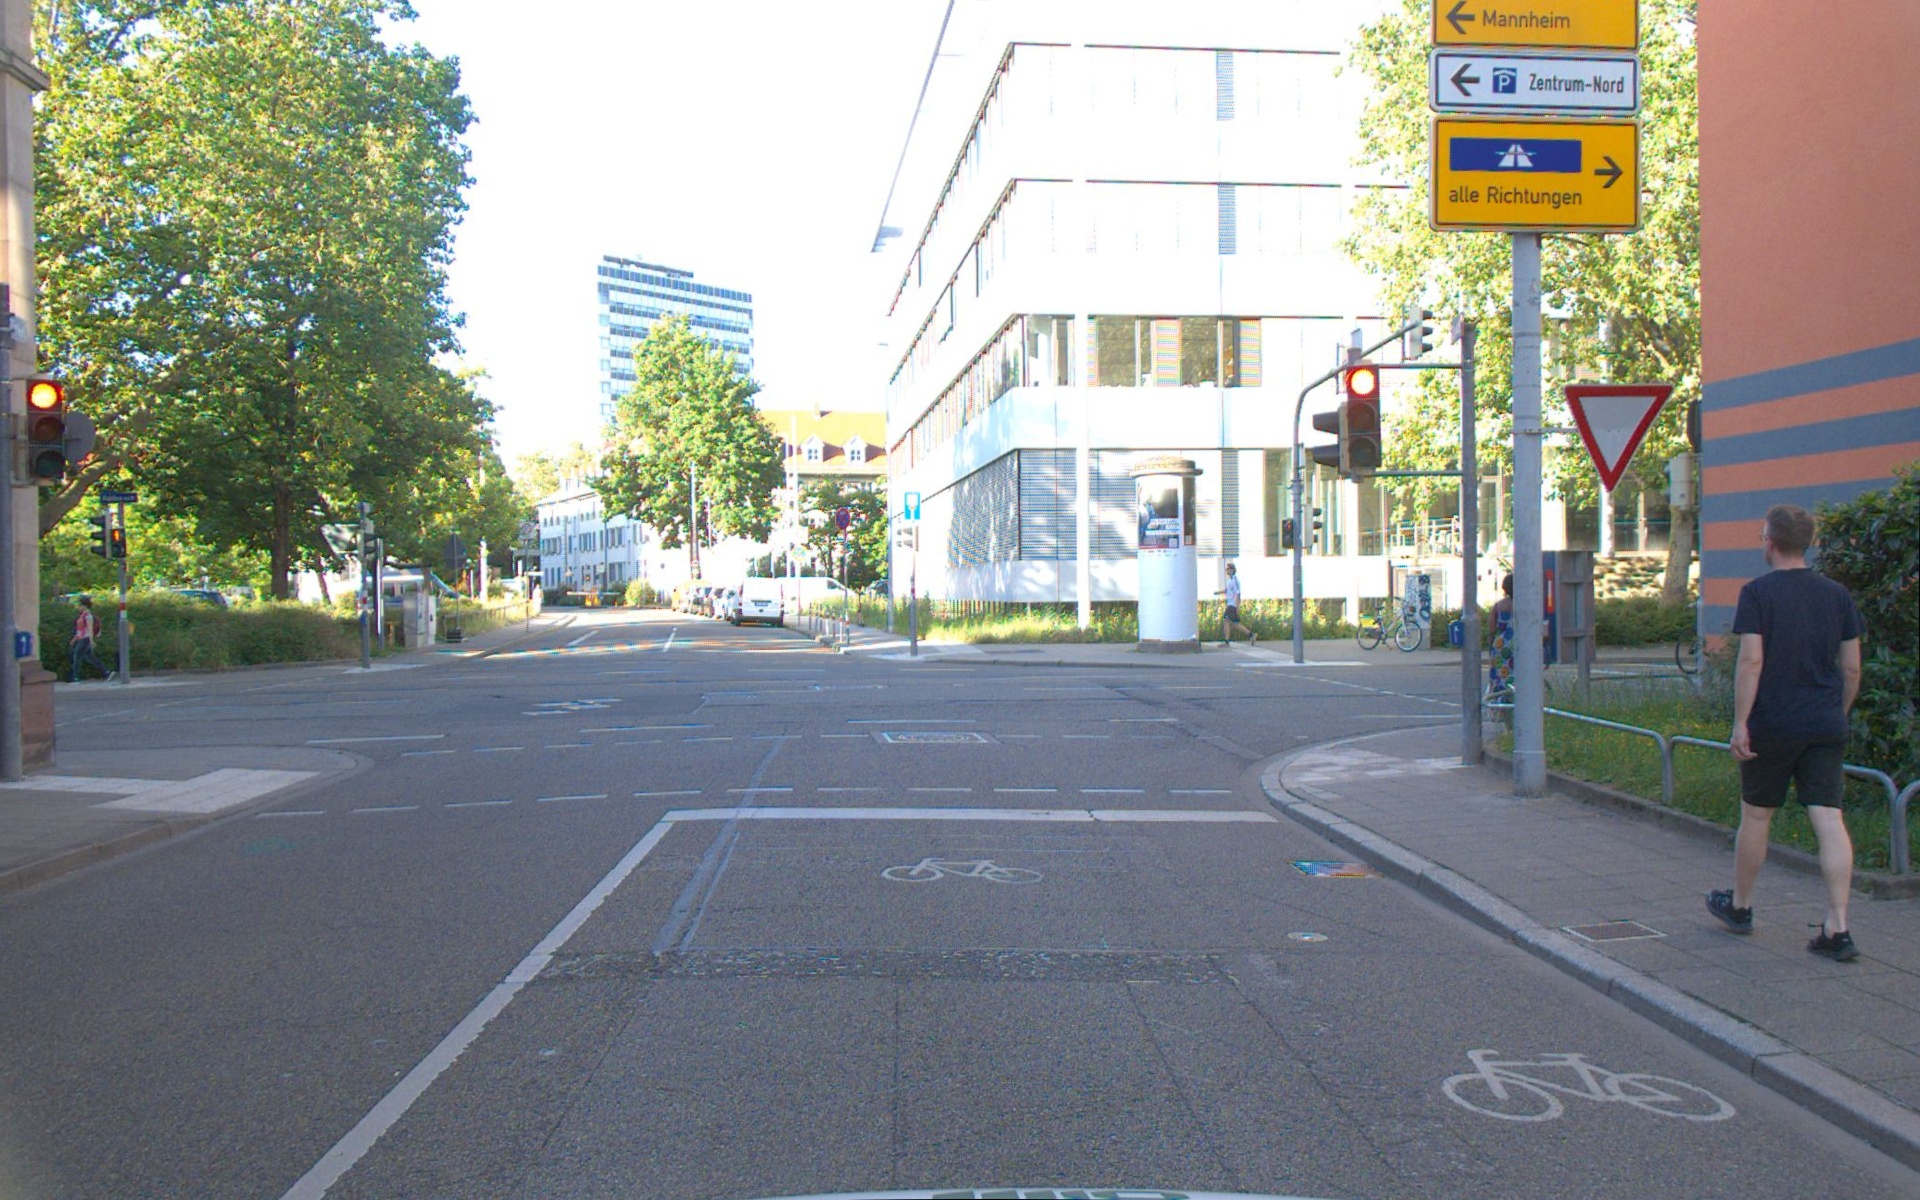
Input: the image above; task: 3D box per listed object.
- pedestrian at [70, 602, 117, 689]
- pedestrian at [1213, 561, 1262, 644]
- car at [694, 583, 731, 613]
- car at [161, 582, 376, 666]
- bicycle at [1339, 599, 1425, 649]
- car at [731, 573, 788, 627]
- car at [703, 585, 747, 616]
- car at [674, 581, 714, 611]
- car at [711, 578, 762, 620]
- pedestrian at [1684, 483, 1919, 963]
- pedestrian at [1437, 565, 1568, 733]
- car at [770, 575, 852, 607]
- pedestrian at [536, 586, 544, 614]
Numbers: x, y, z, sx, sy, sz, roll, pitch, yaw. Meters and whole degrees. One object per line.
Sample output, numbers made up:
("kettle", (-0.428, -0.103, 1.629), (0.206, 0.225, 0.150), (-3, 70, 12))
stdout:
("pedestrian", (-16.540, 0.860, 31.565), (0.706, 1.627, 0.610), (-1, 0, -35))
("pedestrian", (6.372, 0.054, 38.039), (1.016, 1.863, 0.539), (-1, 0, -2))
("car", (-12.841, -0.107, 85.625), (1.674, 1.490, 4.226), (-1, 1, -11))
("car", (-15.758, 0.524, 37.888), (4.146, 1.808, 1.901), (-1, 0, -9))
("bicycle", (9.229, 0.521, 36.230), (0.460, 1.067, 1.886), (-1, 0, -42))
("car", (-7.854, -0.033, 64.505), (2.029, 1.997, 4.229), (-1, 0, -9))
("car", (-11.547, 0.025, 81.108), (1.675, 1.449, 4.223), (-1, 1, -14))
("car", (-15.368, -0.244, 95.410), (2.063, 1.687, 4.463), (-1, 1, -11))
("car", (-10.344, -0.066, 76.386), (1.913, 1.826, 4.224), (-1, 1, -13))
("pedestrian", (3.559, 0.469, 6.851), (0.631, 1.819, 0.916), (-4, 0, 2))
("pedestrian", (5.437, 0.489, 16.584), (0.941, 1.600, 0.746), (-4, 0, 43))
("car", (-9.265, -0.531, 102.626), (4.804, 1.905, 1.990), (1, -1, -17))
("pedestrian", (-23.789, -0.020, 93.640), (0.373, 1.561, 0.444), (-1, 0, -13))
